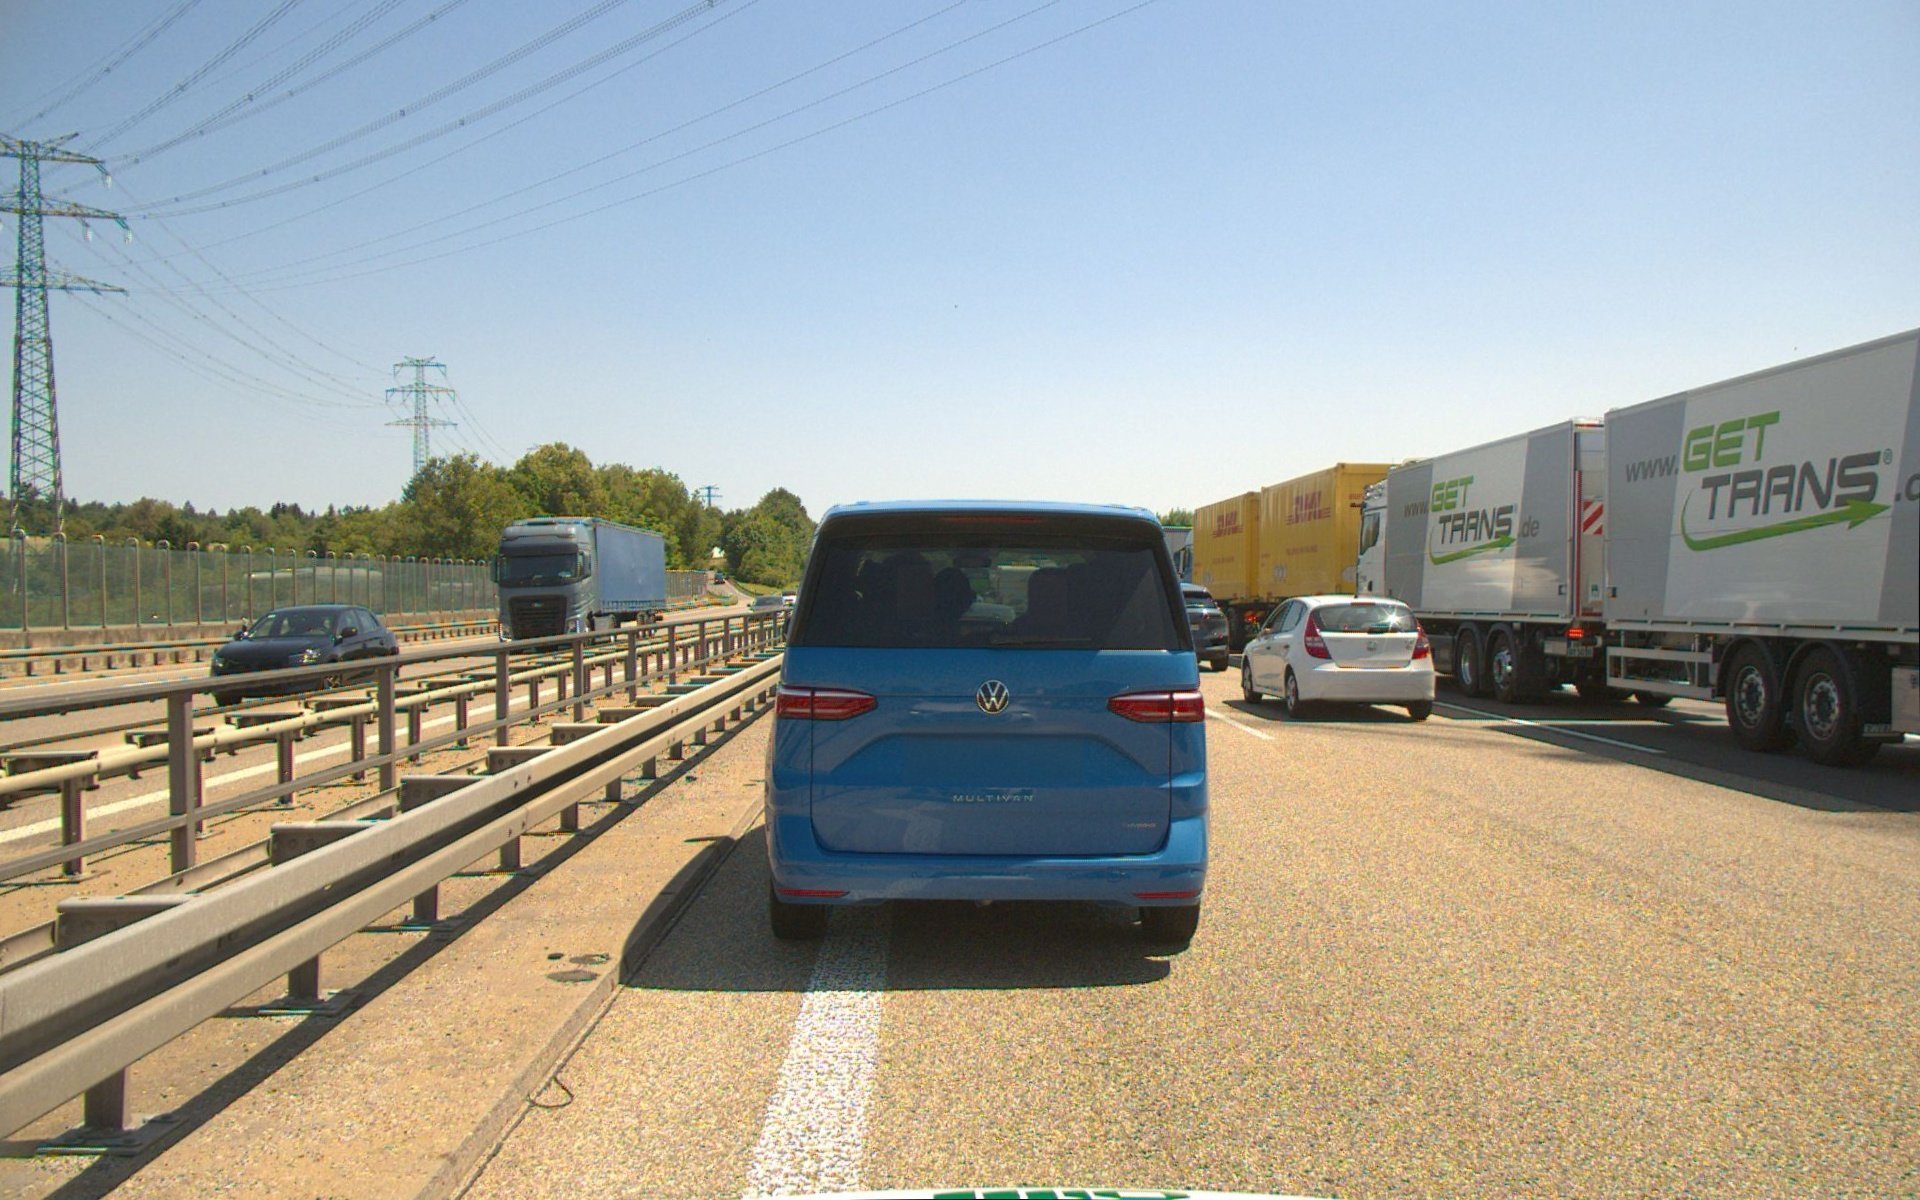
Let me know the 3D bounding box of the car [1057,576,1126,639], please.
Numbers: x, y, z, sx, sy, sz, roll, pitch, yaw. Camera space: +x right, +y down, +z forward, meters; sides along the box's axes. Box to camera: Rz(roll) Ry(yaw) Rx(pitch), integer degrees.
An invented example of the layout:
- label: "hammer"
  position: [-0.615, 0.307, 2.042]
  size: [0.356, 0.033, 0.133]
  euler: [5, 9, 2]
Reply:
- label: "car"
  position: [4.318, 0.240, 54.896]
  size: [1.922, 1.970, 3.931]
  euler: [1, 0, -1]

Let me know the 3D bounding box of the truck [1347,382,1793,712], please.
- label: "truck"
  position: [8.758, -0.630, 25.654]
  size: [2.794, 4.003, 10.607]
  euler: [1, 0, -1]

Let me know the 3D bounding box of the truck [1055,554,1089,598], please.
- label: "truck"
  position: [7.026, -1.488, 103.731]
  size: [1.760, 2.641, 4.305]
  euler: [1, 0, -1]

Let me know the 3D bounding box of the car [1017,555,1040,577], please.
- label: "car"
  position: [6.039, -2.964, 145.866]
  size: [1.760, 1.782, 3.943]
  euler: [1, 0, -1]

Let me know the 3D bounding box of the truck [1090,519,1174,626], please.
- label: "truck"
  position: [7.922, -1.200, 77.044]
  size: [2.964, 4.692, 7.920]
  euler: [1, 0, 0]

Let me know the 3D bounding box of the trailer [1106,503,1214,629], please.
- label: "trailer"
  position: [7.988, -1.248, 67.604]
  size: [2.964, 4.692, 10.923]
  euler: [1, 0, 0]

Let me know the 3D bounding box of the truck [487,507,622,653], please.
- label: "truck"
  position: [-12.415, -0.573, 51.166]
  size: [2.697, 4.188, 6.264]
  euler: [-1, 0, -1]

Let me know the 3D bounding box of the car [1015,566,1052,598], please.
- label: "car"
  position: [4.196, -1.002, 94.611]
  size: [1.880, 1.736, 3.999]
  euler: [1, 0, -1]

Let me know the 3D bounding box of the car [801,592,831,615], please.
- label: "car"
  position: [-10.277, 0.265, 118.236]
  size: [1.844, 1.579, 4.188]
  euler: [1, 0, -2]

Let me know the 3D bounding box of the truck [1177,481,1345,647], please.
- label: "truck"
  position: [8.287, -0.886, 46.914]
  size: [2.645, 4.159, 9.936]
  euler: [1, 0, -2]

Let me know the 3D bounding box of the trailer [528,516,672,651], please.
- label: "trailer"
  position: [-12.560, -0.508, 58.859]
  size: [2.650, 4.238, 12.046]
  euler: [-2, 0, -1]

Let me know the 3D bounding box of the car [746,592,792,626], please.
- label: "car"
  position: [-9.051, 0.427, 78.547]
  size: [1.844, 1.579, 4.188]
  euler: [1, 0, -2]

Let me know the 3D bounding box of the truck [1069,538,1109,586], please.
- label: "truck"
  position: [7.006, -2.026, 90.097]
  size: [1.761, 2.492, 4.503]
  euler: [1, 0, -1]

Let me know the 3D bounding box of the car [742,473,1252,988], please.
- label: "car"
  position: [0.118, 0.501, 8.212]
  size: [1.891, 1.906, 3.999]
  euler: [1, 0, -1]

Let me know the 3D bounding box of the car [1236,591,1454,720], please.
- label: "car"
  position: [4.856, 0.661, 21.402]
  size: [1.778, 1.496, 3.930]
  euler: [1, 0, -2]

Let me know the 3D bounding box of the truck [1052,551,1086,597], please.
- label: "truck"
  position: [6.483, -1.527, 98.908]
  size: [1.706, 2.593, 4.209]
  euler: [1, 0, -1]

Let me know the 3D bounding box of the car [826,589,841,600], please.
- label: "car"
  position: [-17.511, -0.744, 229.058]
  size: [1.834, 1.467, 4.384]
  euler: [-2, 0, -1]

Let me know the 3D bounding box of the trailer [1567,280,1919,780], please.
- label: "trailer"
  position: [8.964, -0.526, 16.219]
  size: [2.840, 3.959, 8.212]
  euler: [1, 0, -1]

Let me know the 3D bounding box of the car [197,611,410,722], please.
- label: "car"
  position: [-10.020, 0.959, 25.540]
  size: [1.761, 1.524, 3.851]
  euler: [-2, 0, -1]

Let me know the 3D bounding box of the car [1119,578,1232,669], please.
- label: "car"
  position: [4.306, 0.460, 33.543]
  size: [1.778, 1.708, 3.932]
  euler: [1, 0, 0]

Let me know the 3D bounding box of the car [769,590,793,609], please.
- label: "car"
  position: [-15.918, -0.037, 147.440]
  size: [1.770, 1.668, 3.998]
  euler: [-2, 0, -2]

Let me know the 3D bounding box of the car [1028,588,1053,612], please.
- label: "car"
  position: [6.335, 0.009, 130.510]
  size: [1.760, 1.782, 3.943]
  euler: [1, 0, -1]

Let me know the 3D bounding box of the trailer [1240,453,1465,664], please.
- label: "trailer"
  position: [8.594, -0.806, 37.467]
  size: [2.628, 4.159, 8.976]
  euler: [1, 0, -2]
